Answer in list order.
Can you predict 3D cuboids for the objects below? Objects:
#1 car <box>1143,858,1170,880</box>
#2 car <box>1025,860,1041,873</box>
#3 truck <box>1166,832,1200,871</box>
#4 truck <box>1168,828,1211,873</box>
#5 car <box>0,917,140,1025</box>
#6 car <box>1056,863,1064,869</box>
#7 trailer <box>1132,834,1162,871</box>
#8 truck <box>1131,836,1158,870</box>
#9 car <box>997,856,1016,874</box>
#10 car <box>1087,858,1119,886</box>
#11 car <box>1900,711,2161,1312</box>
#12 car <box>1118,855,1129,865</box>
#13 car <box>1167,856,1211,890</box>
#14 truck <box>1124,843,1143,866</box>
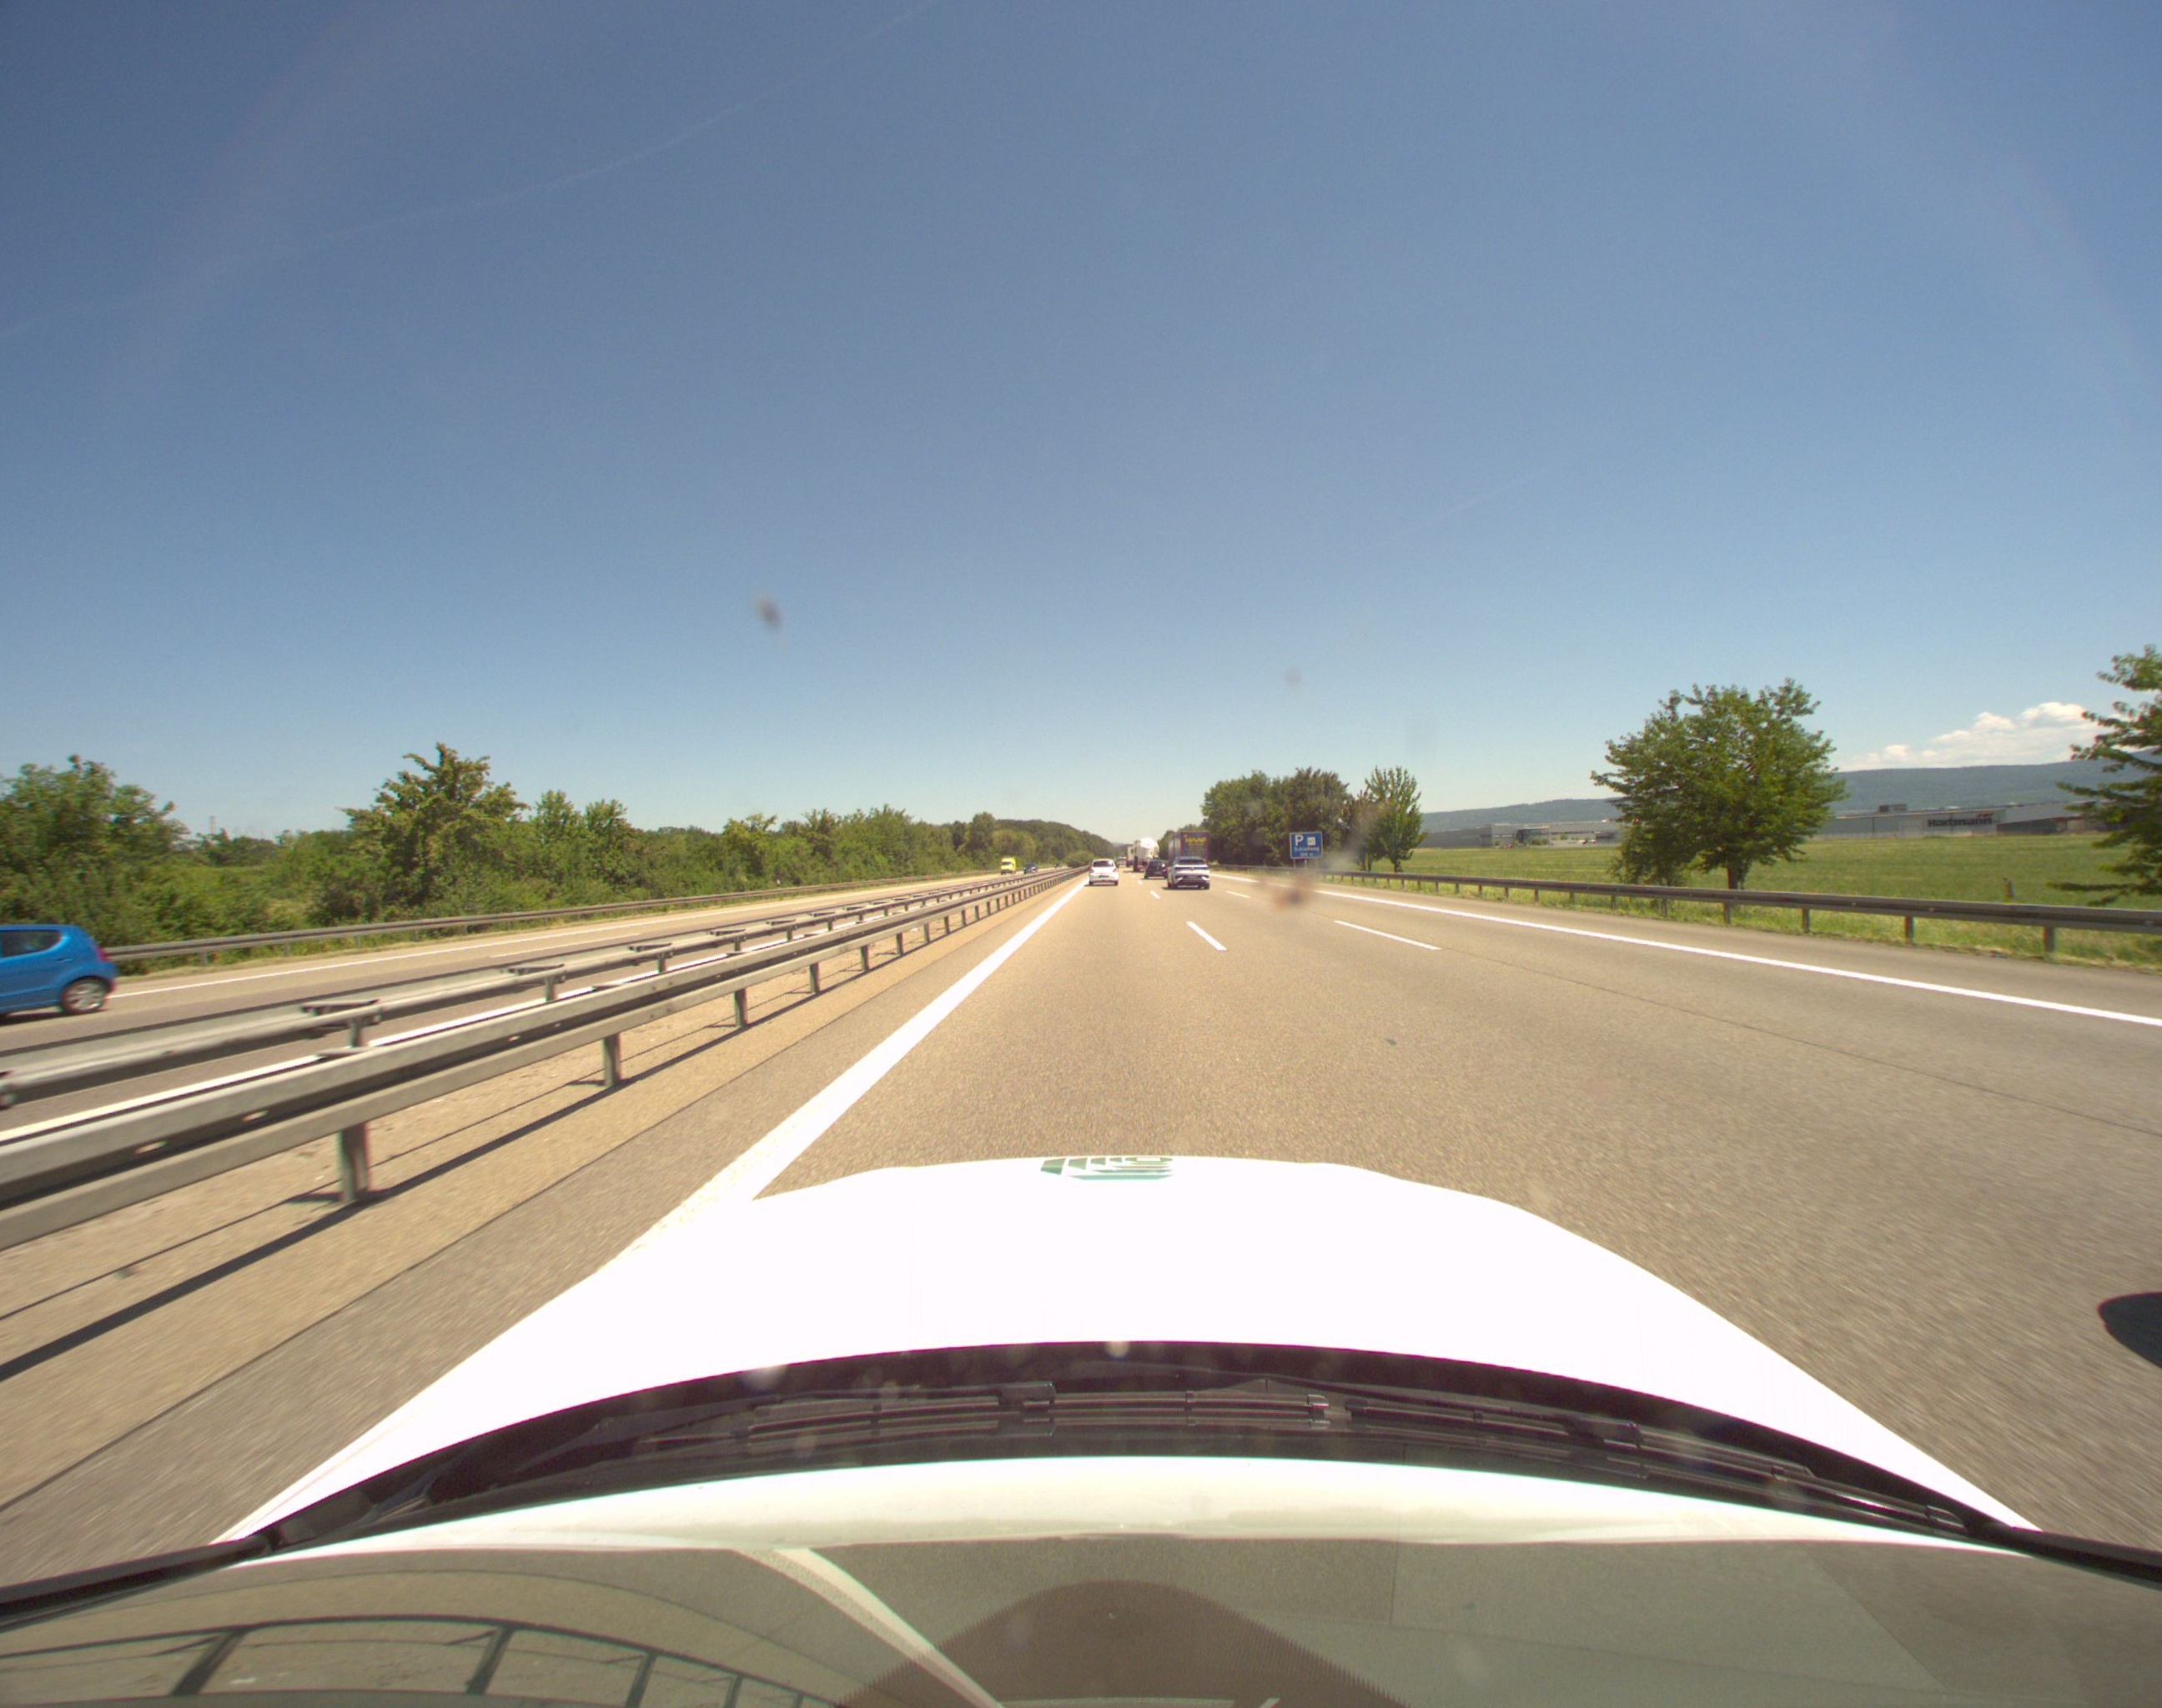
[{"bbox_3d":[5.624,1.096,61.074,1.843,1.523,3.959,0,0,2],"label":"car"},{"bbox_3d":[-7.251,1.895,123.561,1.861,1.690,4.628,-4,0,2],"label":"car"},{"bbox_3d":[11.087,-0.247,89.446,3.096,4.139,8.062,0,0,3],"label":"truck"},{"bbox_3d":[10.695,-0.273,82.048,3.096,4.139,15.522,0,0,3],"label":"truck"},{"bbox_3d":[-15.892,1.729,11.277,1.558,1.424,3.473,-4,-1,2],"label":"car"},{"bbox_3d":[-6.083,3.391,234.755,1.916,1.717,4.290,-2,0,2],"label":"car"},{"bbox_3d":[7.681,-0.162,95.697,2.900,4.069,12.423,0,0,2],"label":"trailer"},{"bbox_3d":[7.866,-0.156,101.381,2.901,4.079,7.197,0,0,1],"label":"truck"},{"bbox_3d":[-12.098,1.804,132.844,2.157,2.779,5.802,-4,0,2],"label":"car"},{"bbox_3d":[1.295,1.014,47.675,1.792,1.552,3.611,0,0,1],"label":"car"},{"bbox_3d":[4.241,0.480,0.982,1.846,1.863,4.703,0,0,1],"label":"car"},{"bbox_3d":[9.846,1.354,189.413,2.465,2.354,5.185,0,0,3],"label":"car"},{"bbox_3d":[5.360,0.894,40.915,1.795,1.603,4.383,0,0,2],"label":"car"},{"bbox_3d":[9.767,0.117,151.692,3.380,4.214,12.092,0,0,3],"label":"truck"}]
